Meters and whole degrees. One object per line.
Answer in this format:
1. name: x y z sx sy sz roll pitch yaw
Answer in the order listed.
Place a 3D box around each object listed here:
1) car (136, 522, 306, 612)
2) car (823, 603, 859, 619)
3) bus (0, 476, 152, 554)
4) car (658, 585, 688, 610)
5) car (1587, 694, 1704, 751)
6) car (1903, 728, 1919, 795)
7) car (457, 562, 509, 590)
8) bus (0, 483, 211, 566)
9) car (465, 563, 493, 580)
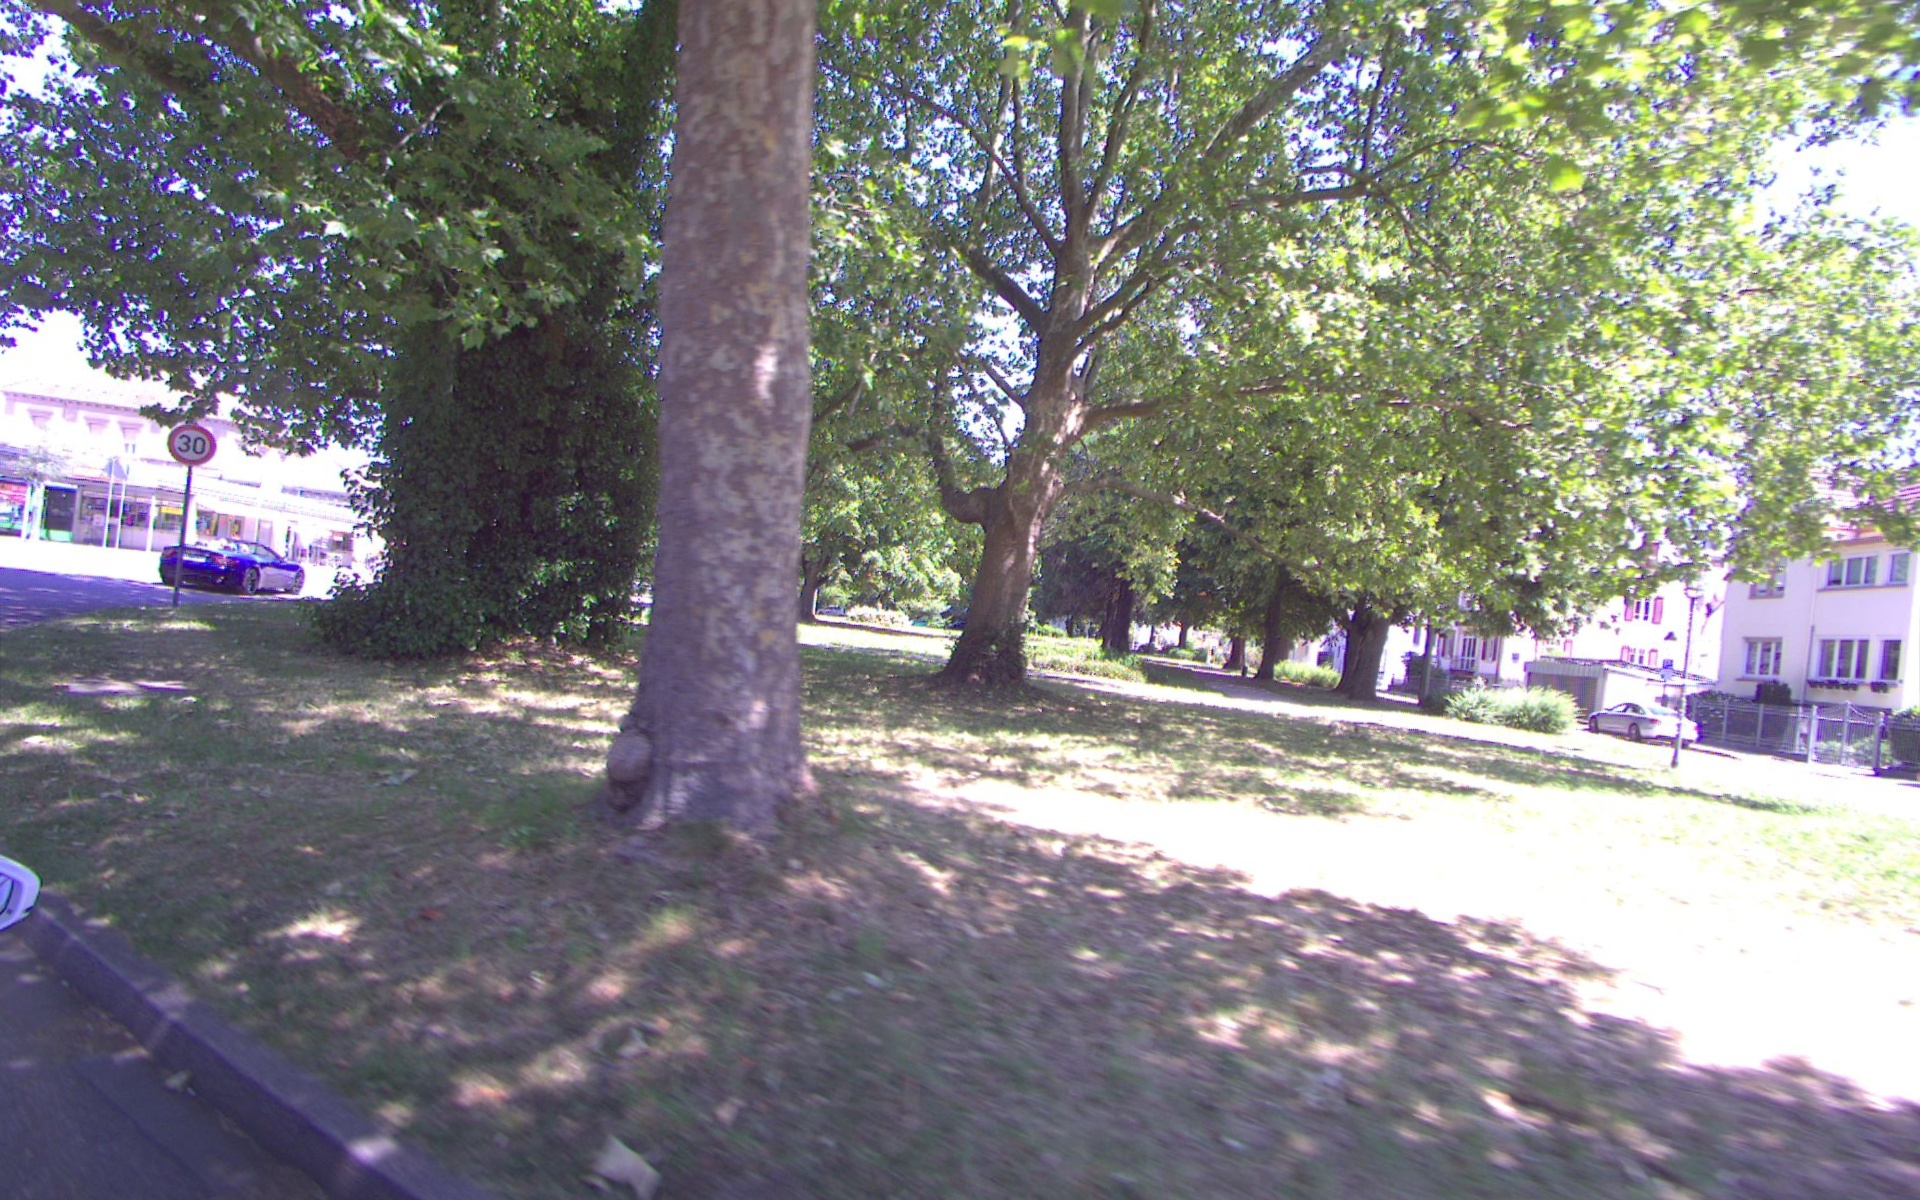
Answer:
1. car: -18.843 -0.789 25.909 2.100 1.870 4.036 7 -2 -16
2. car: -14.278 1.341 120.722 4.049 1.484 1.997 7 -1 -10
3. bus: -53.154 -4.931 59.368 2.131 3.568 12.212 7 -1 -7
4. car: -20.282 -0.174 71.175 1.696 1.496 3.698 6 -1 -12
5. car: 25.465 4.513 37.539 1.720 1.525 4.002 6 -1 4
6. car: 23.647 3.932 22.257 1.721 1.542 4.002 8 -1 2
7. car: -31.885 -1.568 67.375 1.694 1.496 4.781 6 -1 -8
8. bus: -45.589 -3.811 53.599 2.637 3.077 13.877 6 -2 -9
9. car: -62.490 -3.713 130.823 1.726 1.941 4.770 6 -1 -7
